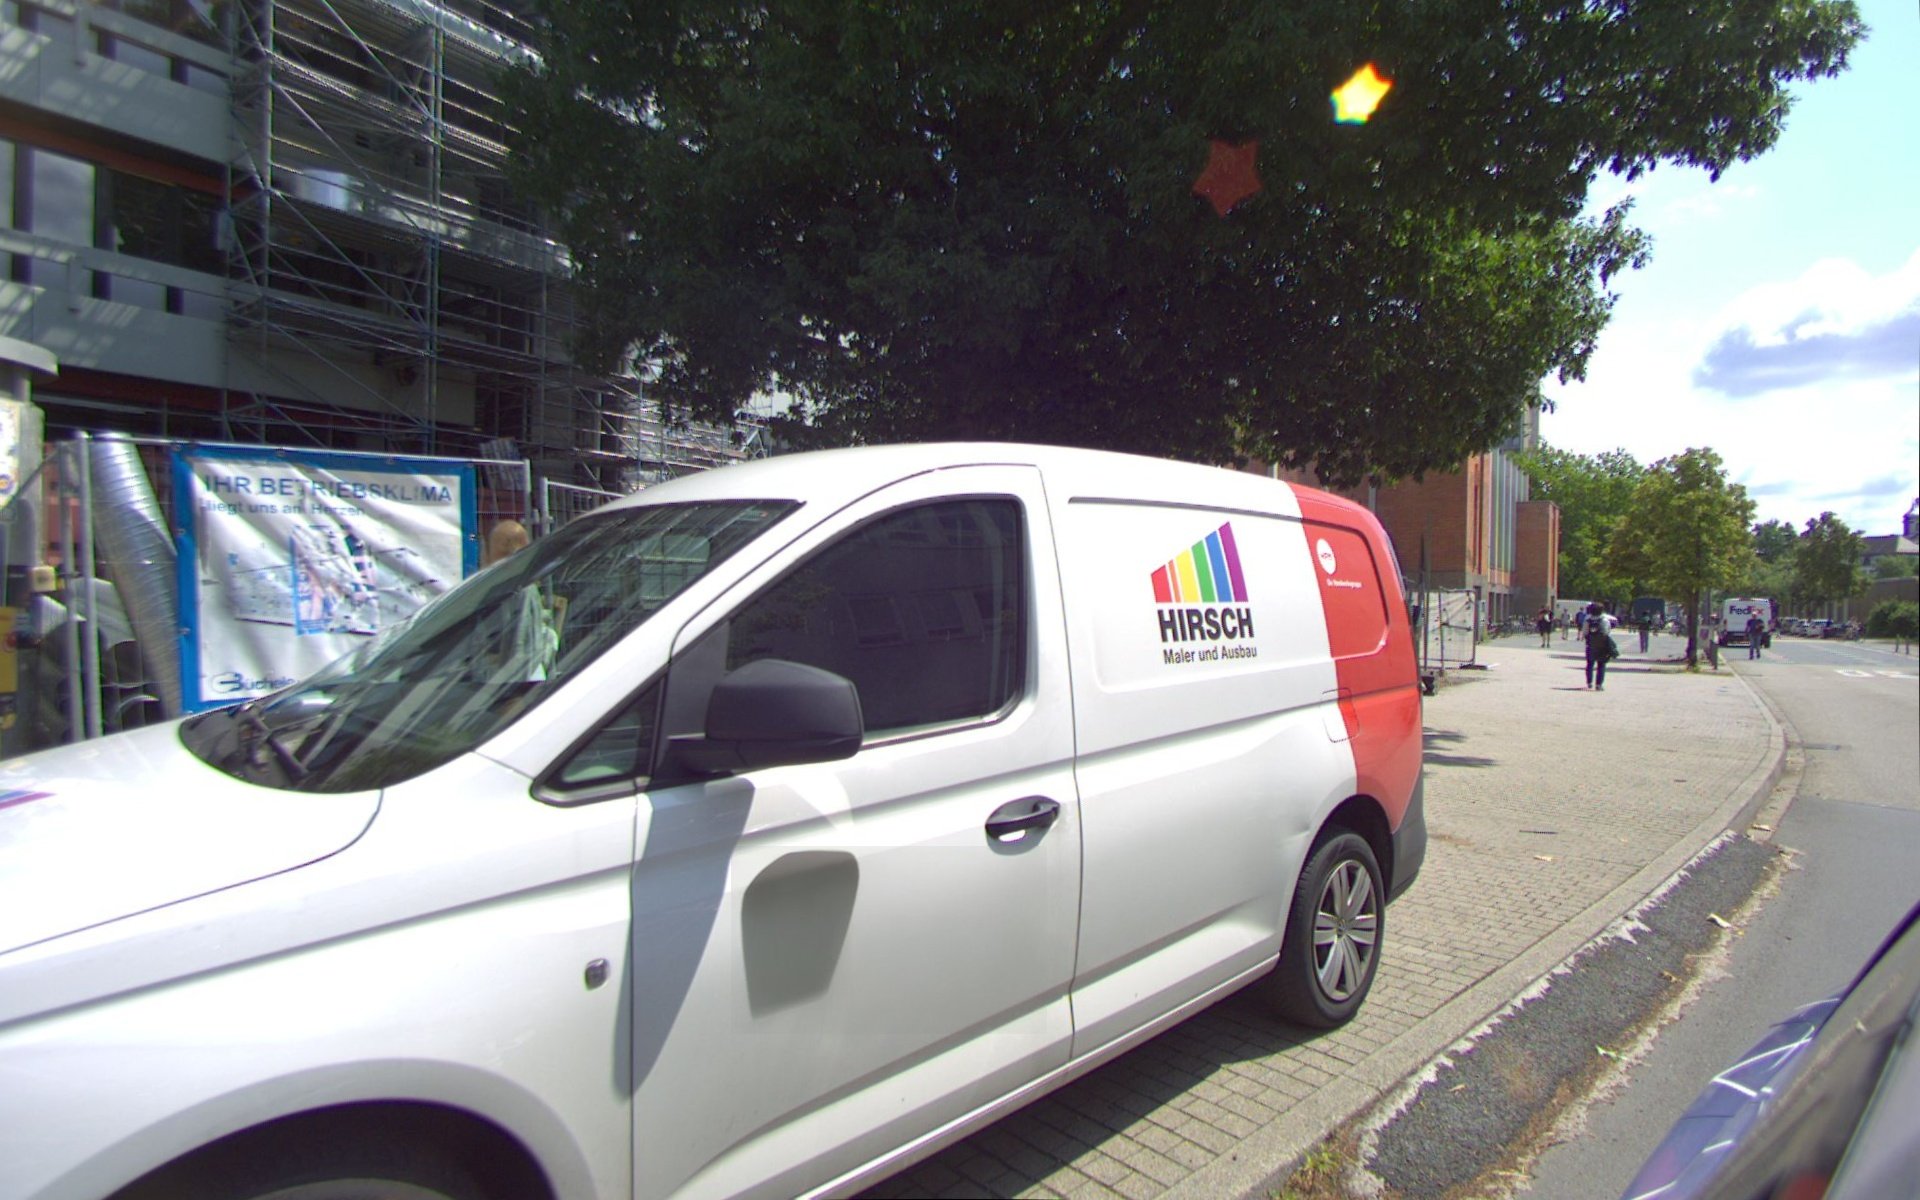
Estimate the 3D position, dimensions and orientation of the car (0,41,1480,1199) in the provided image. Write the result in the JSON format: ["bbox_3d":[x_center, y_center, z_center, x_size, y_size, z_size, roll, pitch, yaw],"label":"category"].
[{"bbox_3d":[-0.344,0.381,2.969,4.808,1.915,1.850,1,0,-44],"label":"car"}]

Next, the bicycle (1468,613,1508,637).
[{"bbox_3d":[26.887,1.280,51.546,1.748,1.164,0.511,1,-1,36],"label":"bicycle"}]

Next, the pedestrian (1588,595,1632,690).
[{"bbox_3d":[12.728,0.806,19.810,0.692,1.803,0.777,1,0,34],"label":"pedestrian"}]

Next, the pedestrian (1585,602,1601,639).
[{"bbox_3d":[33.739,1.077,53.949,0.661,1.914,1.096,1,0,33],"label":"pedestrian"}]

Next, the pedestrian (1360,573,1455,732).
[{"bbox_3d":[4.992,0.556,11.288,0.889,1.687,0.650,1,0,-42],"label":"pedestrian"}]

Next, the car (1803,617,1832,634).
[{"bbox_3d":[76.071,2.257,89.826,1.709,1.451,3.946,1,0,37],"label":"car"}]

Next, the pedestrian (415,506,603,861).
[{"bbox_3d":[-2.330,0.387,5.219,0.699,1.652,0.714,1,0,-40],"label":"pedestrian"}]

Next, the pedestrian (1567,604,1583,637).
[{"bbox_3d":[33.183,1.084,54.614,0.583,1.728,0.988,1,1,38],"label":"pedestrian"}]

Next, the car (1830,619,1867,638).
[{"bbox_3d":[64.252,2.048,73.217,1.692,1.311,3.711,1,0,37],"label":"car"}]

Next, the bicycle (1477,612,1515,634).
[{"bbox_3d":[28.396,1.227,53.626,1.742,1.124,0.430,1,-1,36],"label":"bicycle"}]

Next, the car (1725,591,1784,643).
[{"bbox_3d":[42.000,0.893,53.602,2.052,2.575,5.776,1,0,34],"label":"car"}]

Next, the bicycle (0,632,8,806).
[{"bbox_3d":[-6.300,0.711,5.343,0.509,1.029,1.792,2,1,26],"label":"bicycle"}]

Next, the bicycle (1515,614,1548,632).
[{"bbox_3d":[36.672,1.452,64.924,1.791,1.124,0.430,1,-1,36],"label":"bicycle"}]

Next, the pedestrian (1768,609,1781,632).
[{"bbox_3d":[63.188,1.582,78.471,0.552,1.738,0.964,1,-1,24],"label":"pedestrian"}]

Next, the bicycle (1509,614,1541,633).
[{"bbox_3d":[34.676,1.436,62.118,1.677,1.124,0.430,1,-1,36],"label":"bicycle"}]

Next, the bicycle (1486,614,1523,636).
[{"bbox_3d":[29.423,1.340,54.689,1.677,1.124,0.430,1,-1,36],"label":"bicycle"}]

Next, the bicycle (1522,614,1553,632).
[{"bbox_3d":[38.079,1.499,66.733,1.689,1.124,0.430,1,-1,36],"label":"bicycle"}]

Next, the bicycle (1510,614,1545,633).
[{"bbox_3d":[35.602,1.444,63.490,1.905,1.124,0.430,1,-1,36],"label":"bicycle"}]

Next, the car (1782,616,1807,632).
[{"bbox_3d":[91.746,2.588,111.328,1.923,1.655,4.313,1,0,37],"label":"car"}]

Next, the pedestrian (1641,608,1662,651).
[{"bbox_3d":[28.354,1.202,41.472,0.640,1.718,0.781,0,-1,39],"label":"pedestrian"}]

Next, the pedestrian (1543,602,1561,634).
[{"bbox_3d":[34.510,1.067,58.988,0.891,1.857,0.663,2,-1,-44],"label":"pedestrian"}]

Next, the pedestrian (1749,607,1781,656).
[{"bbox_3d":[31.067,1.200,39.074,0.819,1.841,1.131,1,-1,31],"label":"pedestrian"}]

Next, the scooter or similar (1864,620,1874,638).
[{"bbox_3d":[62.581,1.994,69.698,0.469,1.232,1.186,1,-1,41],"label":"scooter or similar"}]

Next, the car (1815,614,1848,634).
[{"bbox_3d":[67.726,1.834,78.649,1.626,1.449,3.585,1,0,36],"label":"car"}]

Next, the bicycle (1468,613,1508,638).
[{"bbox_3d":[26.522,1.272,50.874,1.748,1.164,0.430,1,-1,36],"label":"bicycle"}]

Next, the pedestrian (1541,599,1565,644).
[{"bbox_3d":[25.138,0.884,42.896,0.840,1.857,1.184,1,-1,31],"label":"pedestrian"}]
